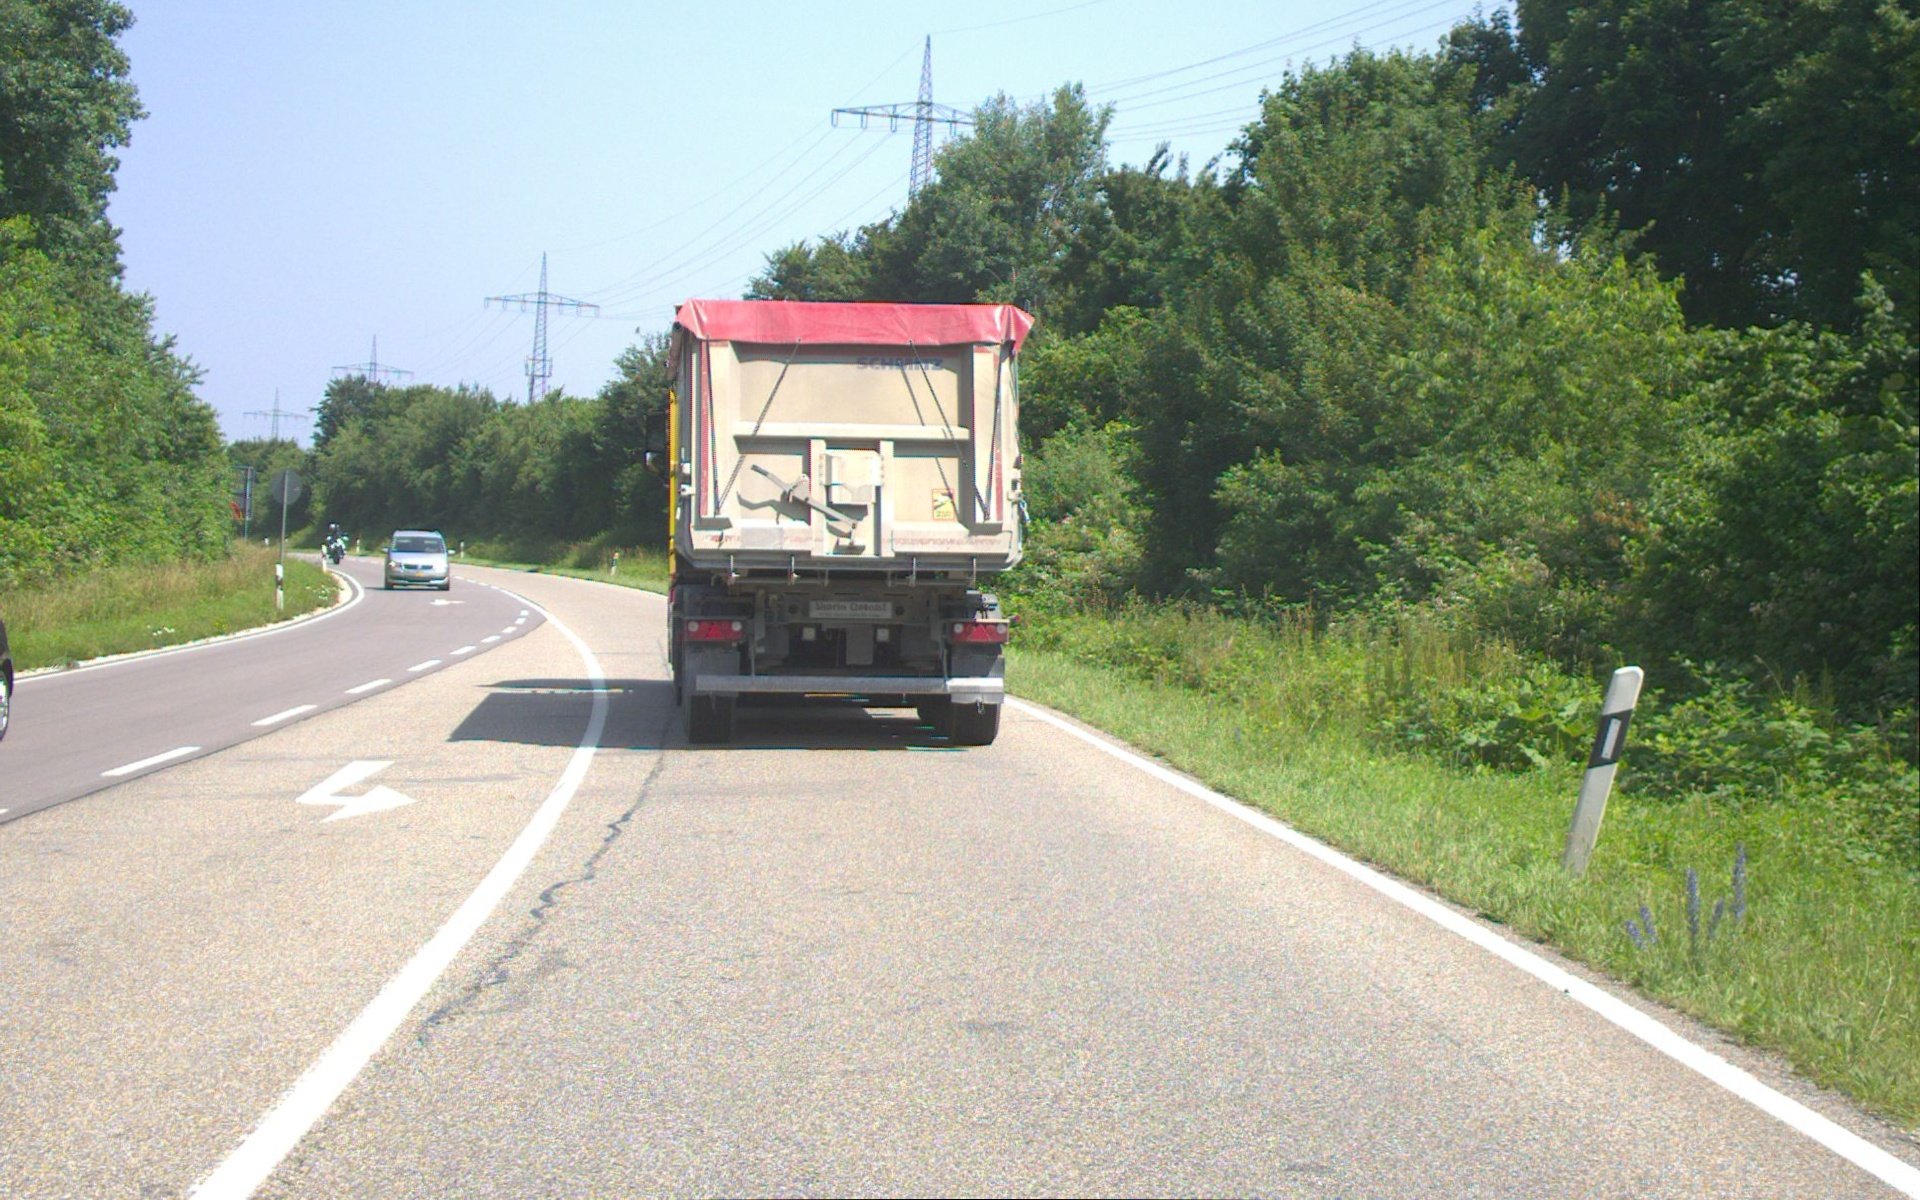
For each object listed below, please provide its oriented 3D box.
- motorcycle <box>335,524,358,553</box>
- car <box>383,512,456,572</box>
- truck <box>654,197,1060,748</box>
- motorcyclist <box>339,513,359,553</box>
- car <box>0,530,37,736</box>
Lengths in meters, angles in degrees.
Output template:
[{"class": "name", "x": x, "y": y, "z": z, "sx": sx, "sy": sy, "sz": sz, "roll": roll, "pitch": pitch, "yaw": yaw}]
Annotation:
[{"class": "motorcycle", "x": -27.050, "y": -2.701, "z": 151.614, "sx": 0.946, "sy": 1.246, "sz": 2.683, "roll": 1, "pitch": 1, "yaw": -9}, {"class": "car", "x": -15.178, "y": -1.629, "z": 96.626, "sx": 1.802, "sy": 1.631, "sz": 4.213, "roll": 1, "pitch": 1, "yaw": -6}, {"class": "truck", "x": -1.232, "y": -1.041, "z": 30.942, "sx": 2.893, "sy": 3.949, "sz": 11.935, "roll": 1, "pitch": 1, "yaw": -5}, {"class": "motorcyclist", "x": -27.038, "y": -2.966, "z": 152.133, "sx": 0.830, "sy": 1.746, "sz": 0.623, "roll": 1, "pitch": 1, "yaw": -10}, {"class": "car", "x": -7.772, "y": 0.241, "z": 24.320, "sx": 1.614, "sy": 1.497, "sz": 3.553, "roll": 1, "pitch": 1, "yaw": -2}]
